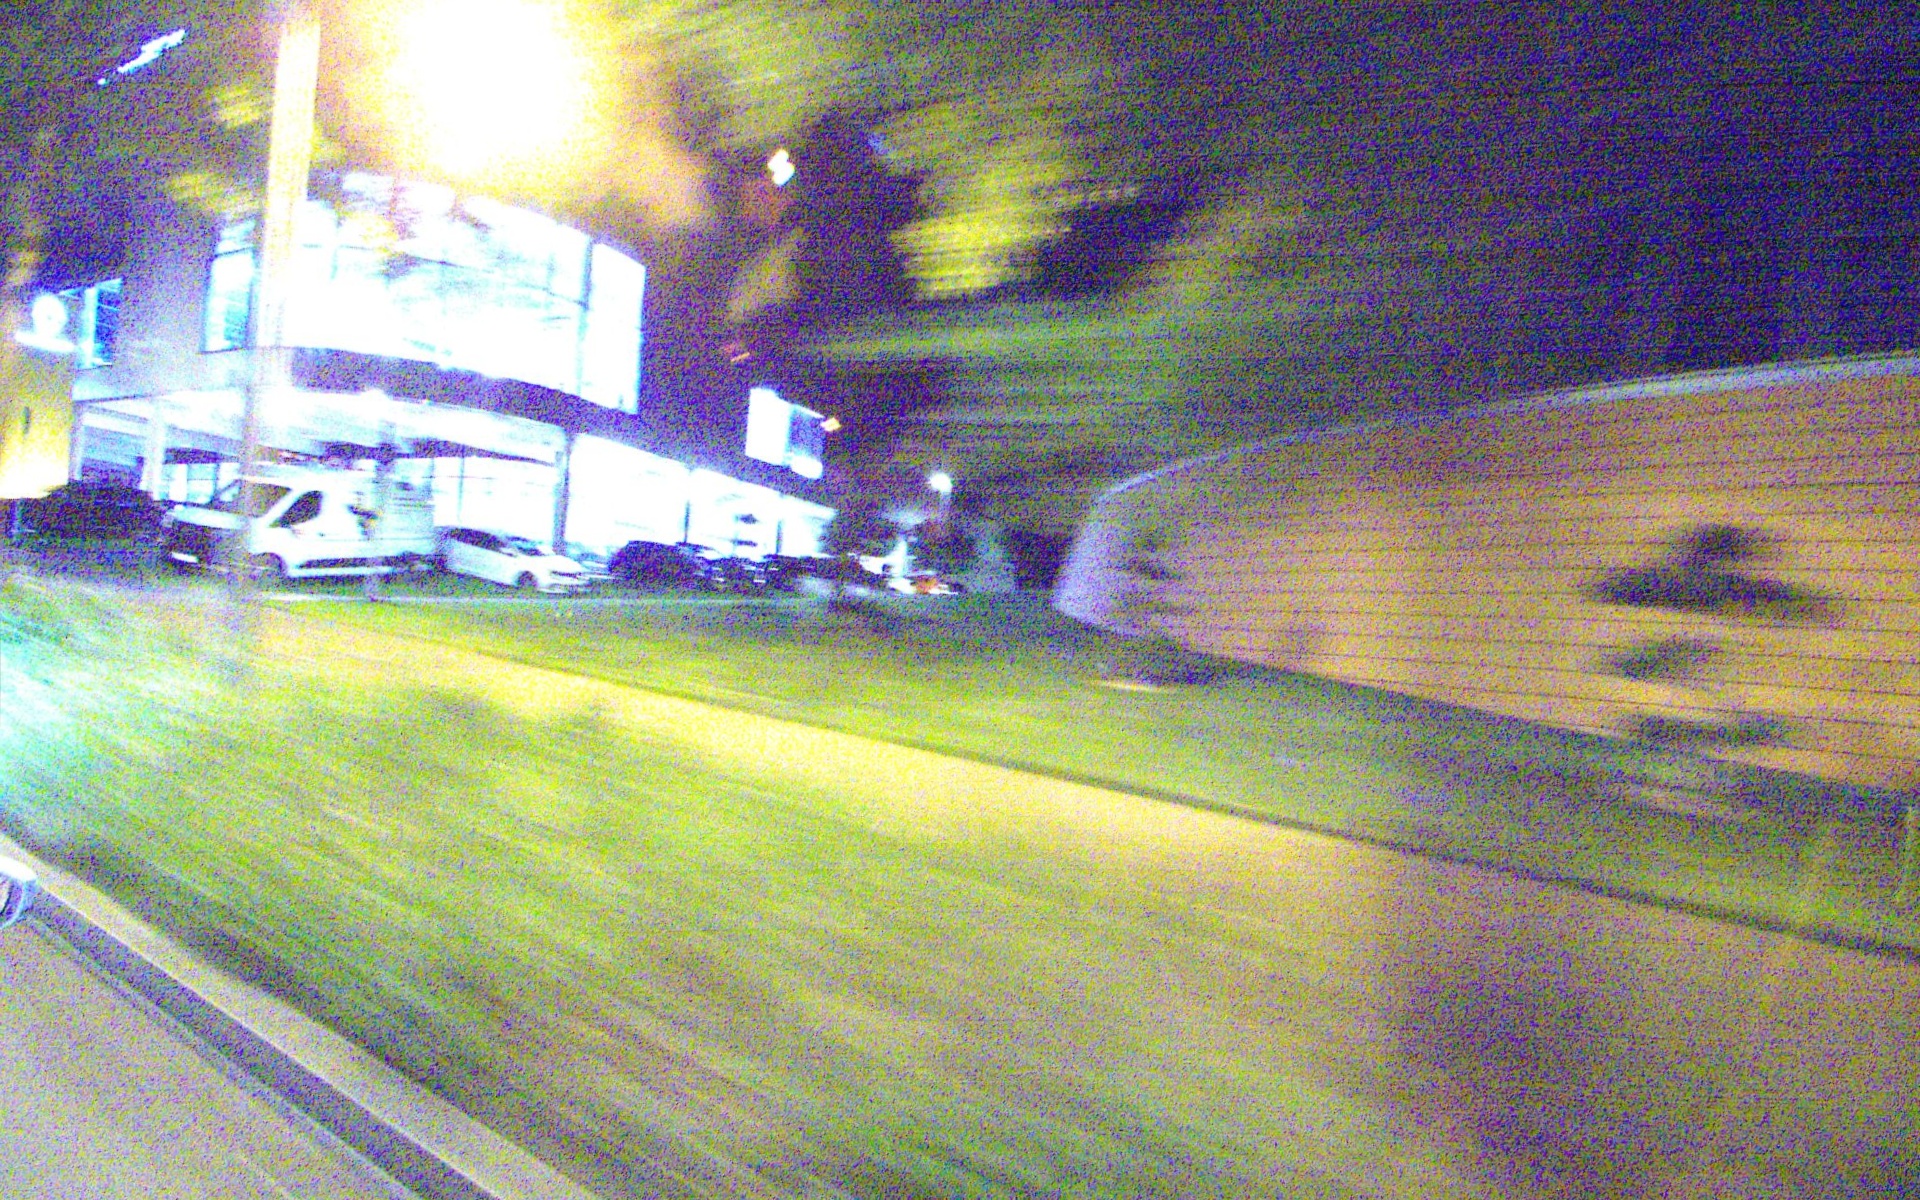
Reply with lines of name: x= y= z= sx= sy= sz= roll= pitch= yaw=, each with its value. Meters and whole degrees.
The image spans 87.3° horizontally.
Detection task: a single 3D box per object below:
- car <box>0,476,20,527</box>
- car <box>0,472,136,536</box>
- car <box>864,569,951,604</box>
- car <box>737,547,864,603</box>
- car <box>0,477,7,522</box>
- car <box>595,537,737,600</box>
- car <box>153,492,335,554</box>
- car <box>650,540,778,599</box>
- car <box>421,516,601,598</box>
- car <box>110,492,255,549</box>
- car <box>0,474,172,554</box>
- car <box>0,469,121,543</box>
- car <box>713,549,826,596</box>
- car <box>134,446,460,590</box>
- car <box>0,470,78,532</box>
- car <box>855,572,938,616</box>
car: x=-32.201 y=-3.261 z=31.194 sx=1.820 sy=1.590 sz=4.087 roll=7 pitch=3 yaw=19
car: x=-37.838 y=-4.034 z=42.129 sx=4.743 sy=1.940 sz=1.834 roll=7 pitch=-1 yaw=-7
car: x=-2.511 y=-0.644 z=48.879 sx=3.891 sy=1.413 sz=1.666 roll=3 pitch=-2 yaw=9
car: x=-6.439 y=-1.008 z=40.966 sx=4.578 sy=1.681 sz=2.002 roll=6 pitch=-1 yaw=8
car: x=-34.874 y=-3.545 z=33.340 sx=1.737 sy=1.569 sz=4.467 roll=5 pitch=3 yaw=21
car: x=-9.423 y=-1.027 z=32.333 sx=3.891 sy=1.600 sz=1.797 roll=6 pitch=4 yaw=8
car: x=-22.788 y=-2.422 z=32.160 sx=4.367 sy=1.531 sz=1.716 roll=4 pitch=2 yaw=-9
car: x=-8.585 y=-1.096 z=35.241 sx=3.891 sy=1.624 sz=1.780 roll=6 pitch=4 yaw=8
car: x=-11.885 y=-1.116 z=26.762 sx=3.891 sy=1.734 sz=1.810 roll=6 pitch=2 yaw=8
car: x=-26.275 y=-2.673 z=34.076 sx=3.441 sy=1.440 sz=1.636 roll=5 pitch=0 yaw=-7
car: x=-23.269 y=-2.231 z=25.952 sx=1.924 sy=1.685 sz=4.212 roll=6 pitch=2 yaw=19
car: x=-27.296 y=-2.800 z=28.871 sx=1.963 sy=1.833 sz=4.471 roll=7 pitch=1 yaw=19
car: x=-7.216 y=-1.042 z=38.316 sx=3.804 sy=1.353 sz=1.657 roll=6 pitch=1 yaw=8
car: x=-14.259 y=-1.697 z=22.260 sx=2.240 sy=2.565 sz=6.028 roll=6 pitch=4 yaw=14
car: x=-29.692 y=-3.086 z=30.152 sx=1.963 sy=1.710 sz=4.468 roll=7 pitch=3 yaw=19
car: x=-2.949 y=-0.296 z=46.898 sx=3.637 sy=1.621 sz=1.735 roll=5 pitch=4 yaw=-1
